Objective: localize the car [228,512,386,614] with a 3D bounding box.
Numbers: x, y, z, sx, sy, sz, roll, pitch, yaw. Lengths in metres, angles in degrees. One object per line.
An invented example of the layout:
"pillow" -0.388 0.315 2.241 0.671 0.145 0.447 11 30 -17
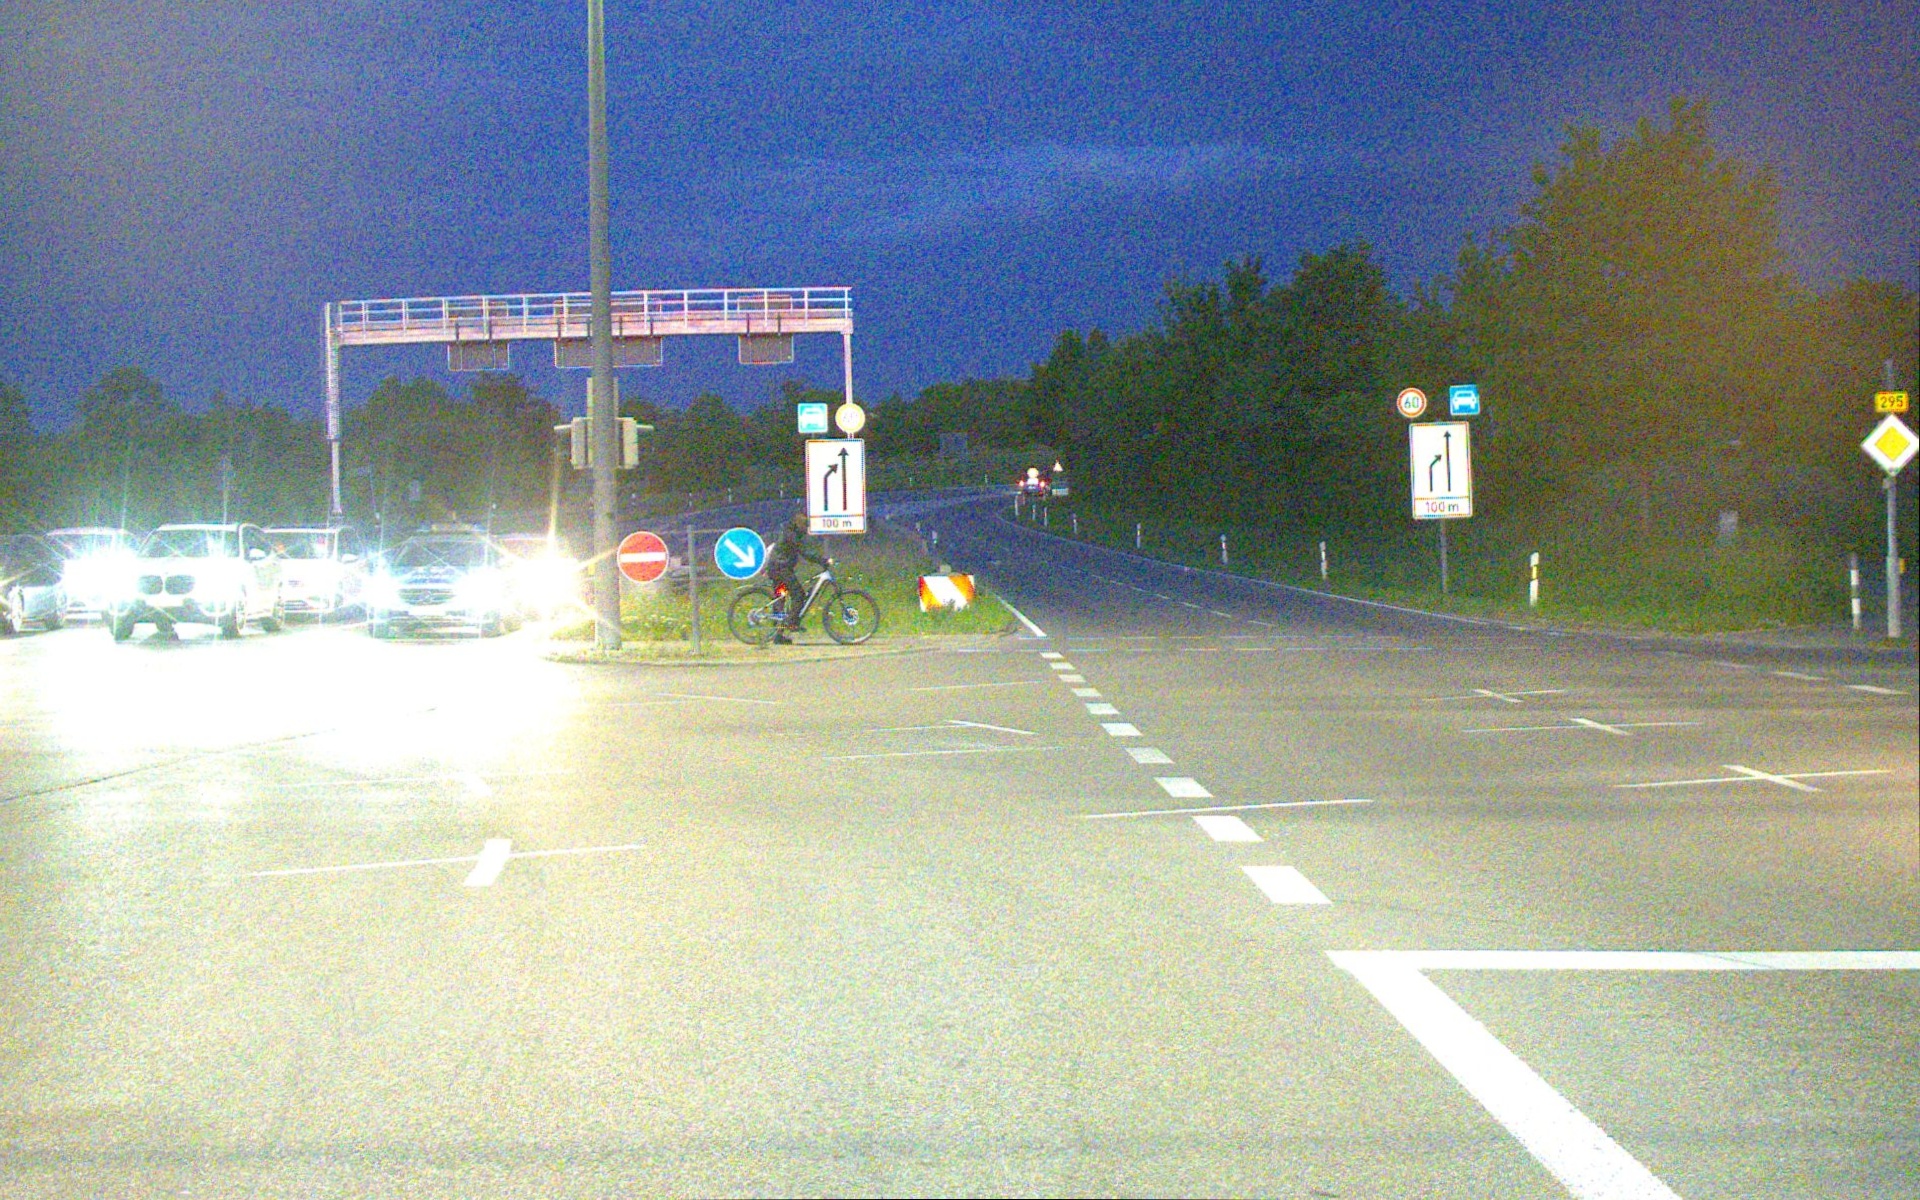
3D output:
"car" -10.964 -0.659 57.963 1.745 1.621 4.363 0 2 1

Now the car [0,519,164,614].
"car" -14.846 -0.592 58.048 1.831 1.519 4.000 -1 2 0

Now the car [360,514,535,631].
"car" -7.507 -0.441 50.772 1.852 1.627 4.585 0 2 1

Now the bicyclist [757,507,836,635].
"bicyclist" -2.117 -0.383 44.566 0.997 1.645 0.604 0 1 -5

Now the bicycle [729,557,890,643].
"bicycle" -1.958 -0.003 44.573 2.061 1.097 0.695 0 1 -5

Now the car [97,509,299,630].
"car" -11.148 -0.487 50.567 1.908 1.676 4.420 0 2 1

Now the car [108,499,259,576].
"car" -14.795 -1.215 65.726 1.831 1.385 4.397 -1 2 0

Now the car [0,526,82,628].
"car" -14.713 -0.371 51.697 1.780 1.441 4.291 0 2 2

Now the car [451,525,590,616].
"car" -7.472 -0.527 58.768 1.773 1.476 3.910 1 1 1
